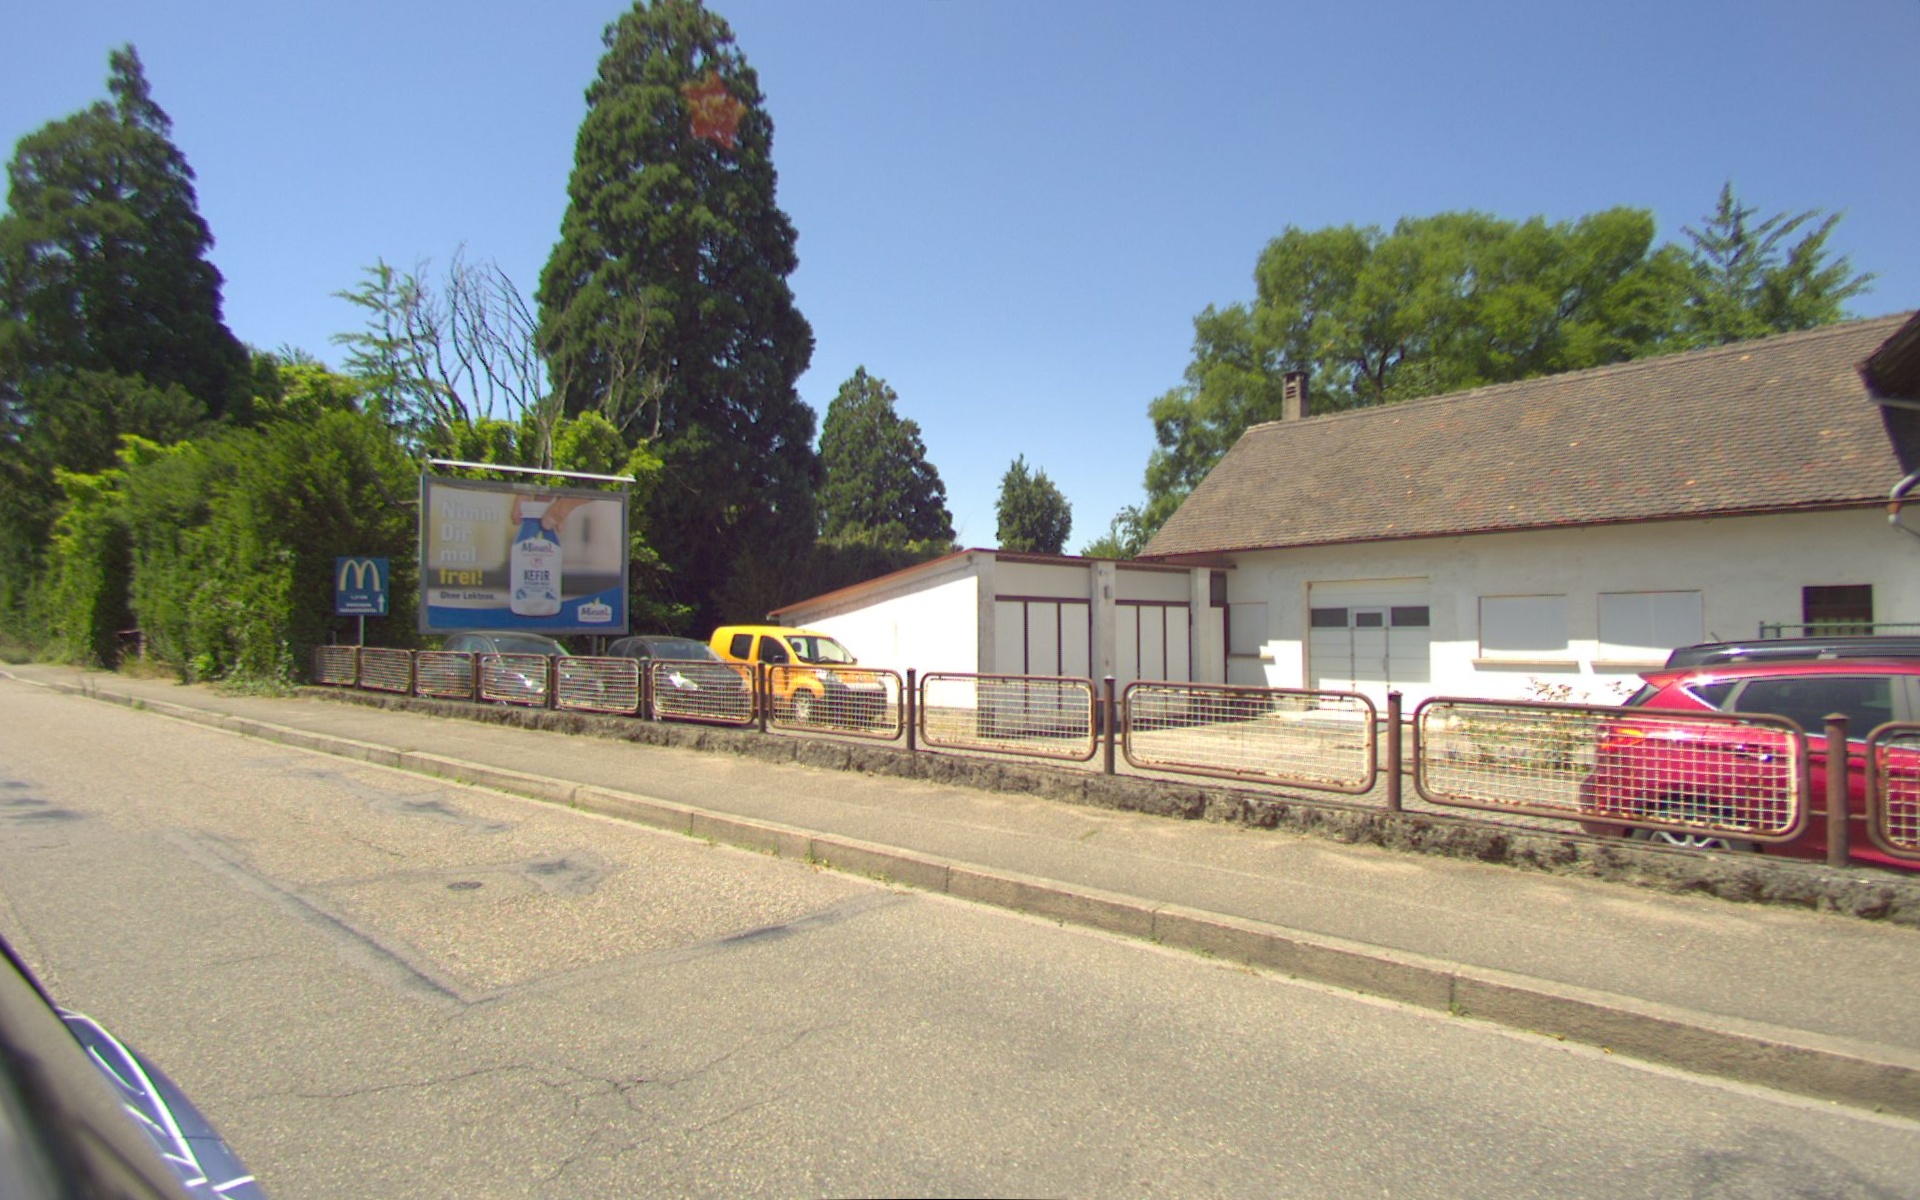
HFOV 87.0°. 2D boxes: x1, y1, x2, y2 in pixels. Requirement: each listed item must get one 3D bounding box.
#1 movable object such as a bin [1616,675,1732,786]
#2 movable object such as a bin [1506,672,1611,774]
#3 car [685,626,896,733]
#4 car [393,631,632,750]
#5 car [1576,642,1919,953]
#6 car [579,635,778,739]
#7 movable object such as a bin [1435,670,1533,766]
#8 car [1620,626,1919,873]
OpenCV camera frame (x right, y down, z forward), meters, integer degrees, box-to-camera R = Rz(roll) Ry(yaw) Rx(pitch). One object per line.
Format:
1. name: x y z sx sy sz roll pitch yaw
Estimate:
1. movable object such as a bin: 8.500 1.520 12.060 0.873 1.221 0.906 3 -3 -38
2. movable object such as a bin: 7.727 1.558 13.075 0.873 1.221 0.906 3 -3 -38
3. car: -3.309 1.433 19.405 3.996 1.755 1.776 0 -2 40
4. car: -7.033 1.305 15.753 3.996 1.530 1.776 0 -2 40
5. car: 5.762 1.016 5.310 1.773 1.530 4.003 3 -4 -44
6. car: -5.069 1.445 17.905 1.772 1.530 4.005 3 -2 -42
7. movable object such as a bin: 7.148 1.580 13.815 0.873 1.221 0.906 3 -3 -38
8. car: 7.621 1.052 7.156 1.772 1.691 4.631 3 -3 -40
